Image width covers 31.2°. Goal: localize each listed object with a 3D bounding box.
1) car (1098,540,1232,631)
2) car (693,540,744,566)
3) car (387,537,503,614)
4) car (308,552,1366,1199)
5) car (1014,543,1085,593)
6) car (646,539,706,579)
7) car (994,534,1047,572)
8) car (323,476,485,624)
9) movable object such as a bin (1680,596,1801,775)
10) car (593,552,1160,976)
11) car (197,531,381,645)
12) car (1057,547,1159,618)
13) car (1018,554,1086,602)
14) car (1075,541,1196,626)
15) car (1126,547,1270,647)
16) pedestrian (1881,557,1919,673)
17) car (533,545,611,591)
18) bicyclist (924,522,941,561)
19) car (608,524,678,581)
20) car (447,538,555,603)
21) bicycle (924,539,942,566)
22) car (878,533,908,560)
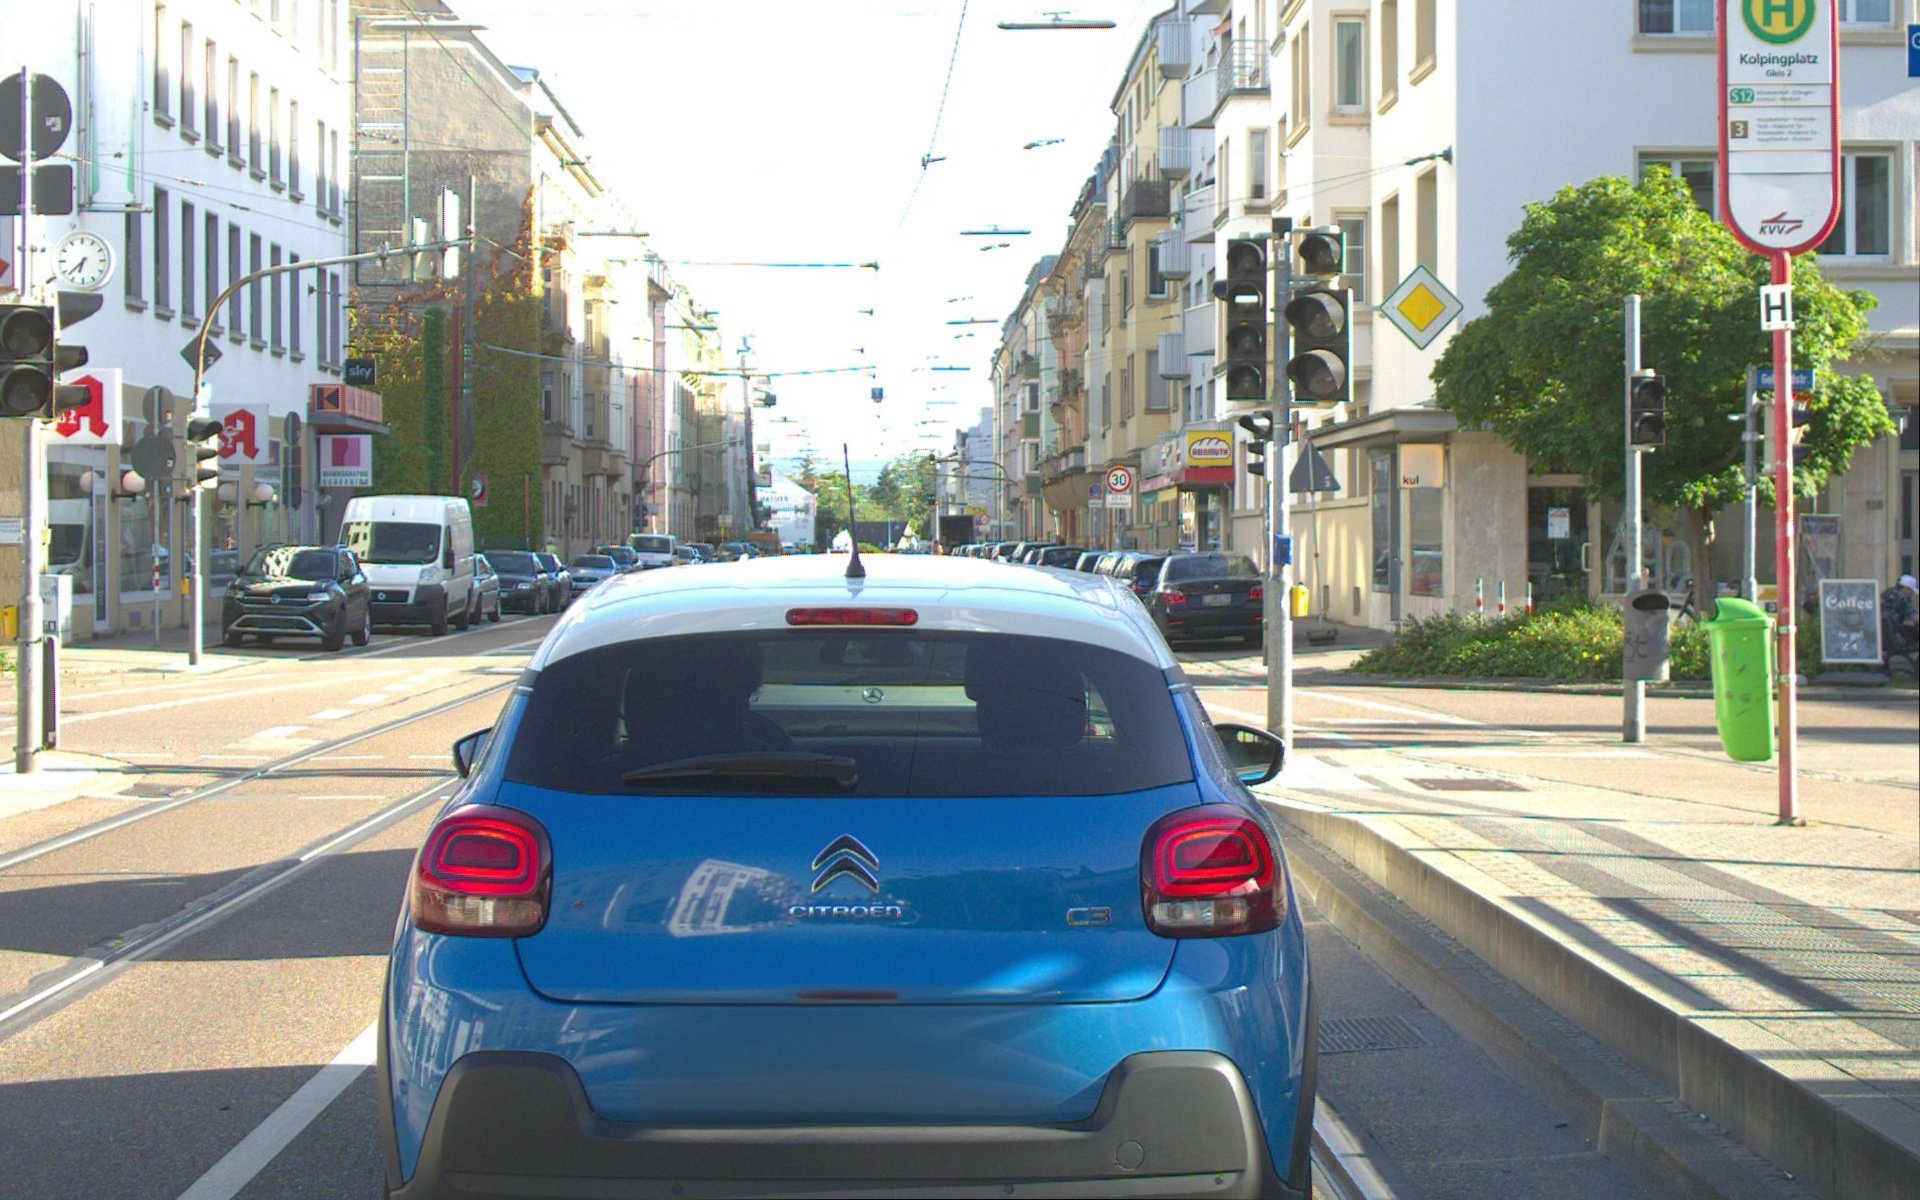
[{"bbox_3d":[3.388,-0.266,57.466,1.993,1.459,4.000,0,1,0],"label":"car"},{"bbox_3d":[-10.783,-2.097,153.970,1.993,1.152,4.000,0,1,0],"label":"car"},{"bbox_3d":[-10.378,-0.492,69.491,1.888,1.491,3.562,1,0,-2],"label":"car"},{"bbox_3d":[-0.233,0.653,7.583,1.728,1.477,3.827,1,1,-1],"label":"car"},{"bbox_3d":[2.625,-0.964,101.984,1.993,1.459,4.504,0,1,0],"label":"car"},{"bbox_3d":[-11.312,-1.621,137.174,1.955,1.547,3.938,1,0,2],"label":"car"},{"bbox_3d":[2.321,-1.821,133.175,1.993,1.459,4.000,0,1,0],"label":"car"},{"bbox_3d":[-10.085,-0.921,62.767,2.085,2.533,6.206,1,1,-2],"label":"car"},{"bbox_3d":[3.511,0.378,15.487,0.449,0.783,0.489,0,1,2],"label":"movable object such as a bin"},{"bbox_3d":[-0.330,0.547,14.595,1.984,1.459,4.816,1,1,-1],"label":"car"},{"bbox_3d":[-10.174,-0.194,52.414,1.993,1.563,4.403,3,0,-2],"label":"car"},{"bbox_3d":[3.100,-0.396,72.888,1.993,1.459,4.000,0,1,0],"label":"car"},{"bbox_3d":[2.819,-0.701,106.363,1.993,1.459,4.000,0,1,0],"label":"car"},{"bbox_3d":[3.176,-0.322,62.893,1.993,1.496,4.000,0,1,0],"label":"car"},{"bbox_3d":[3.586,-0.078,52.410,1.909,1.459,4.000,0,1,0],"label":"car"},{"bbox_3d":[10.893,0.166,39.052,0.741,1.311,0.627,0,1,23],"label":"pedestrian"},{"bbox_3d":[-11.608,-0.964,103.071,1.993,1.320,3.923,1,0,-2],"label":"car"},{"bbox_3d":[-1.427,-3.048,178.714,0.809,2.007,0.922,1,0,-2],"label":"bicyclist"},{"bbox_3d":[-11.660,-1.741,126.711,2.006,2.007,4.689,1,0,1],"label":"car"},{"bbox_3d":[-10.404,-0.675,78.140,1.993,1.393,4.157,1,0,-2],"label":"car"},{"bbox_3d":[-1.420,-2.478,178.753,0.920,1.384,3.132,0,1,0],"label":"bicycle"},{"bbox_3d":[-4.410,-3.527,226.621,1.993,1.766,4.000,0,1,-1],"label":"car"}]
